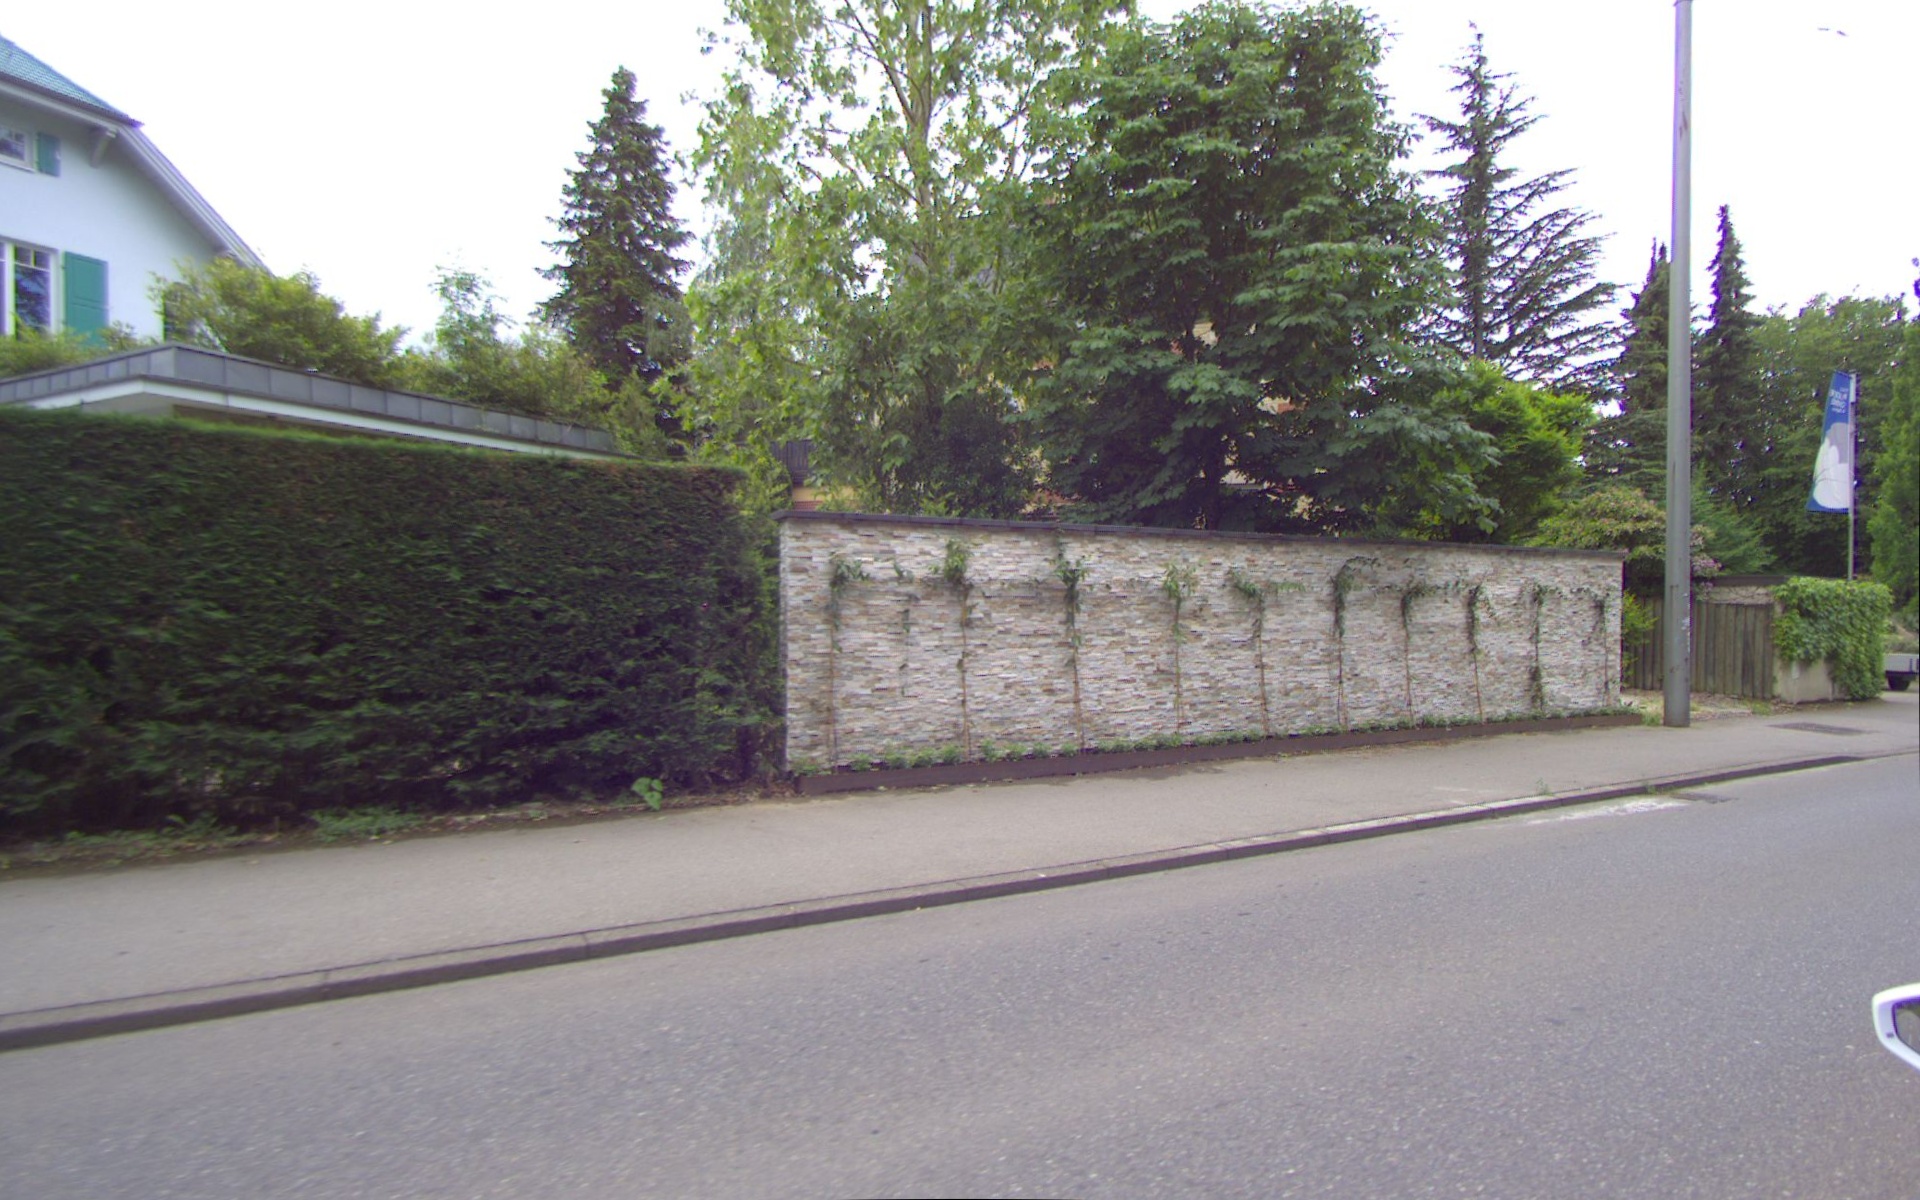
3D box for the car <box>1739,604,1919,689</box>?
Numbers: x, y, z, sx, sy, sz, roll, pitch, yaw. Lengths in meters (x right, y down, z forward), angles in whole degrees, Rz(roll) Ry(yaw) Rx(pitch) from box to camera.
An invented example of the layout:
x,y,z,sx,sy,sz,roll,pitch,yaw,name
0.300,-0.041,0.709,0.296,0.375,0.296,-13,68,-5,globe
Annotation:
x,y,z,sx,sy,sz,roll,pitch,yaw,name
24.073,1.214,27.772,2.378,2.100,5.362,0,-1,19,car
